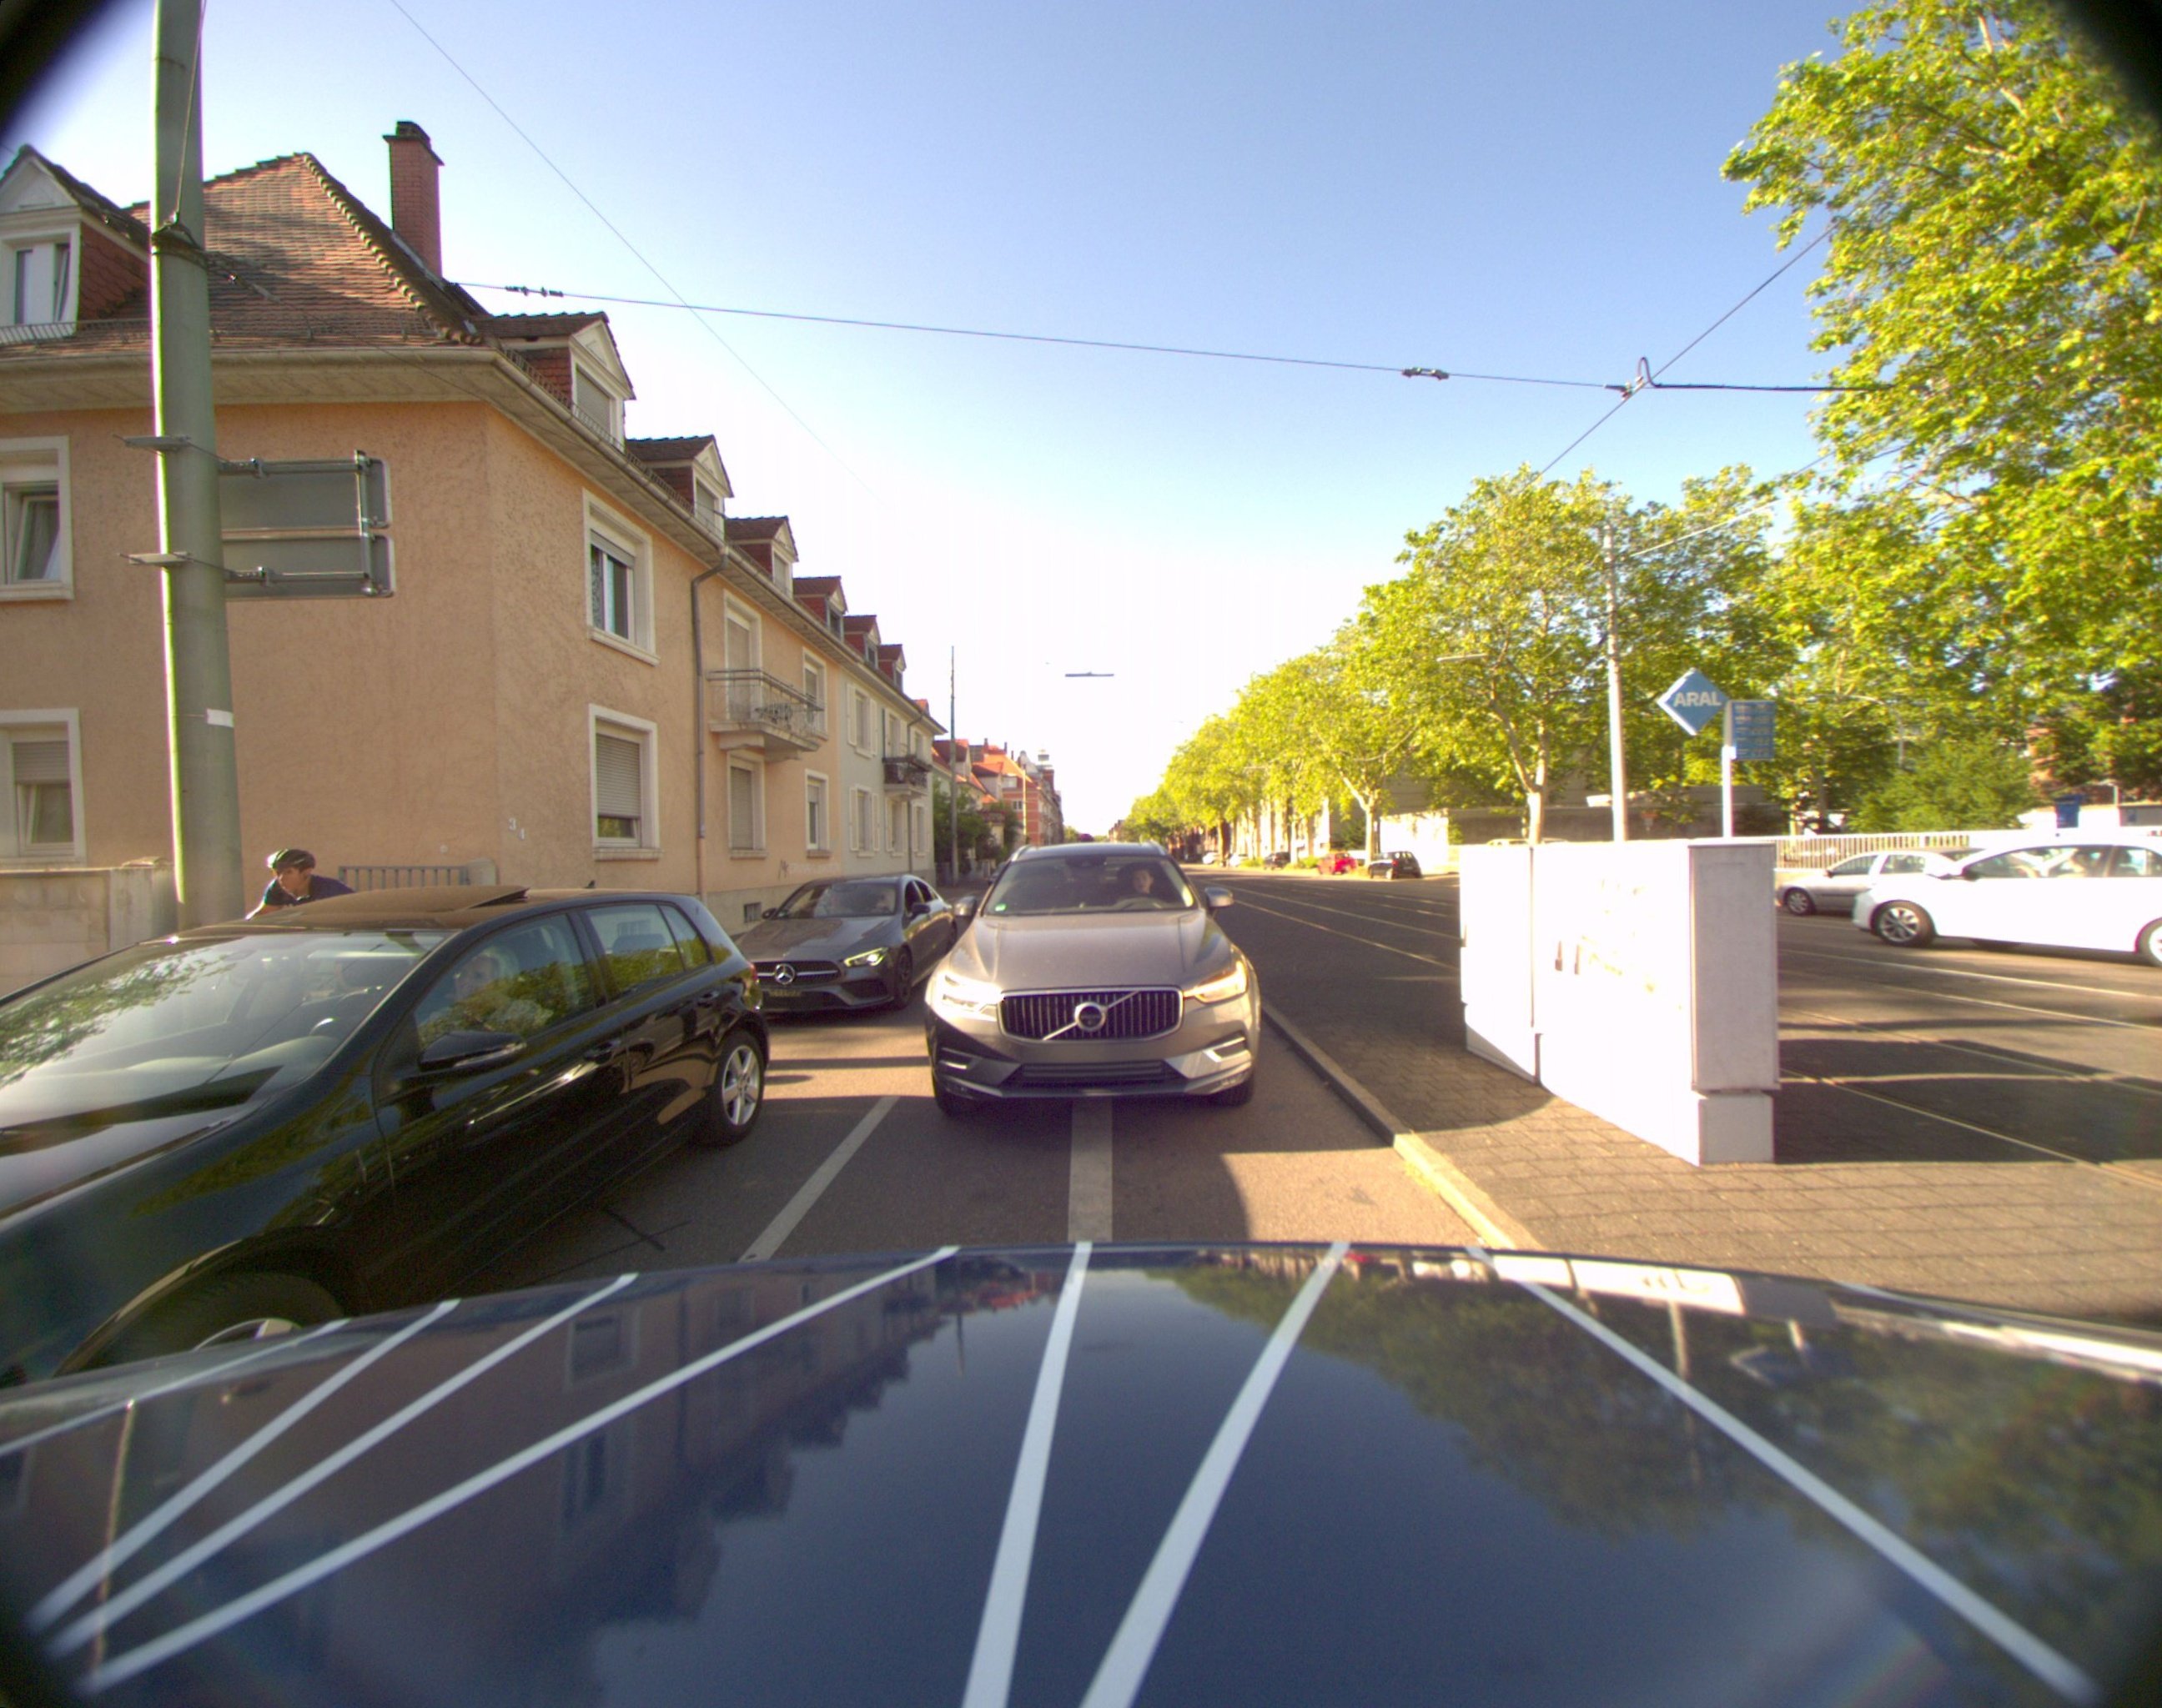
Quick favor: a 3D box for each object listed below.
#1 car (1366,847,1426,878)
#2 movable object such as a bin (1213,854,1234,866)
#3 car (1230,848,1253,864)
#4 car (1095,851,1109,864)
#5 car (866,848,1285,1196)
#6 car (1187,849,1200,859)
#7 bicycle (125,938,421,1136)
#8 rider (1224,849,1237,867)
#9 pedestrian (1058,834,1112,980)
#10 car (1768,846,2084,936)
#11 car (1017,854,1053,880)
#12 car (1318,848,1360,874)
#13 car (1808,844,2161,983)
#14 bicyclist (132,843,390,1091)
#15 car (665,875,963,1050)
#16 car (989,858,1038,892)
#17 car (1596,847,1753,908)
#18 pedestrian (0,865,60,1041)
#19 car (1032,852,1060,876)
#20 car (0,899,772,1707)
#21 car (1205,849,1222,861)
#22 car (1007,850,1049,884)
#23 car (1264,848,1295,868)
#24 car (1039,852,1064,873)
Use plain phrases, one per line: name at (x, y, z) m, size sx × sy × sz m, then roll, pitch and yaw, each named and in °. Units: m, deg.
car at (16.845, 0.440, 40.852) m, size 1.723 × 1.436 × 3.769 m, roll -5°, pitch 1°, yaw 3°
movable object such as a bin at (13.634, 0.578, 72.702) m, size 1.179 × 1.097 × 1.832 m, roll -2°, pitch 1°, yaw -17°
car at (17.629, 0.237, 83.457) m, size 1.754 × 1.532 × 3.878 m, roll -5°, pitch 1°, yaw 3°
car at (2.865, 0.522, 103.397) m, size 1.851 × 1.640 × 3.999 m, roll -2°, pitch 1°, yaw 1°
car at (0.126, 0.797, 5.770) m, size 1.924 × 1.579 × 4.387 m, roll -2°, pitch 1°, yaw 4°
car at (18.566, 0.047, 125.548) m, size 1.661 × 1.452 × 3.730 m, roll -5°, pitch 1°, yaw 3°
bicycle at (-5.818, 1.254, 5.623) m, size 0.556 × 1.069 × 1.624 m, roll 2°, pitch 0°, yaw -7°
rider at (14.023, 0.334, 71.429) m, size 0.726 × 1.639 × 1.104 m, roll -3°, pitch 1°, yaw -17°
pedestrian at (0.056, 0.674, 9.952) m, size 0.609 × 1.832 × 0.599 m, roll -2°, pitch 1°, yaw 1°
car at (16.204, 0.625, 14.943) m, size 1.687 × 1.358 × 3.989 m, roll -6°, pitch 0°, yaw 1°
car at (-2.804, 0.794, 47.157) m, size 1.825 × 1.424 × 4.334 m, roll -2°, pitch 1°, yaw 1°
car at (16.955, 0.453, 50.061) m, size 1.661 × 1.486 × 3.377 m, roll -5°, pitch 1°, yaw 3°
car at (11.685, 0.616, 9.128) m, size 1.744 × 1.427 × 3.931 m, roll 2°, pitch 1°, yaw -11°
bicyclist at (-5.971, 0.789, 5.595) m, size 1.021 × 1.684 × 0.729 m, roll 2°, pitch 0°, yaw -7°
car at (-2.739, 1.034, 9.025) m, size 1.825 × 1.422 × 4.490 m, roll -2°, pitch -1°, yaw 1°
car at (-3.224, 0.961, 37.131) m, size 1.825 × 1.422 × 4.334 m, roll -2°, pitch 1°, yaw 1°
car at (16.422, 0.592, 21.273) m, size 1.619 × 1.436 × 3.606 m, roll -5°, pitch 1°, yaw 3°
pedestrian at (-10.361, 0.916, 7.095) m, size 0.760 × 1.596 × 0.611 m, roll 4°, pitch 1°, yaw -2°
car at (-2.774, 0.769, 60.905) m, size 1.825 × 1.701 × 4.334 m, roll -2°, pitch 1°, yaw 1°
car at (-2.796, 1.043, 2.634) m, size 1.717 × 1.430 × 3.990 m, roll -2°, pitch 1°, yaw 1°
car at (17.585, 0.092, 100.672) m, size 1.661 × 1.452 × 3.730 m, roll -5°, pitch 1°, yaw 3°
car at (-2.900, 0.686, 42.386) m, size 1.825 × 1.701 × 4.334 m, roll -2°, pitch 1°, yaw 1°
car at (17.195, 0.310, 65.944) m, size 1.754 × 1.582 × 3.878 m, roll -5°, pitch 1°, yaw 3°
car at (-2.586, 0.690, 67.271) m, size 1.825 × 1.701 × 4.334 m, roll -2°, pitch 1°, yaw 1°
